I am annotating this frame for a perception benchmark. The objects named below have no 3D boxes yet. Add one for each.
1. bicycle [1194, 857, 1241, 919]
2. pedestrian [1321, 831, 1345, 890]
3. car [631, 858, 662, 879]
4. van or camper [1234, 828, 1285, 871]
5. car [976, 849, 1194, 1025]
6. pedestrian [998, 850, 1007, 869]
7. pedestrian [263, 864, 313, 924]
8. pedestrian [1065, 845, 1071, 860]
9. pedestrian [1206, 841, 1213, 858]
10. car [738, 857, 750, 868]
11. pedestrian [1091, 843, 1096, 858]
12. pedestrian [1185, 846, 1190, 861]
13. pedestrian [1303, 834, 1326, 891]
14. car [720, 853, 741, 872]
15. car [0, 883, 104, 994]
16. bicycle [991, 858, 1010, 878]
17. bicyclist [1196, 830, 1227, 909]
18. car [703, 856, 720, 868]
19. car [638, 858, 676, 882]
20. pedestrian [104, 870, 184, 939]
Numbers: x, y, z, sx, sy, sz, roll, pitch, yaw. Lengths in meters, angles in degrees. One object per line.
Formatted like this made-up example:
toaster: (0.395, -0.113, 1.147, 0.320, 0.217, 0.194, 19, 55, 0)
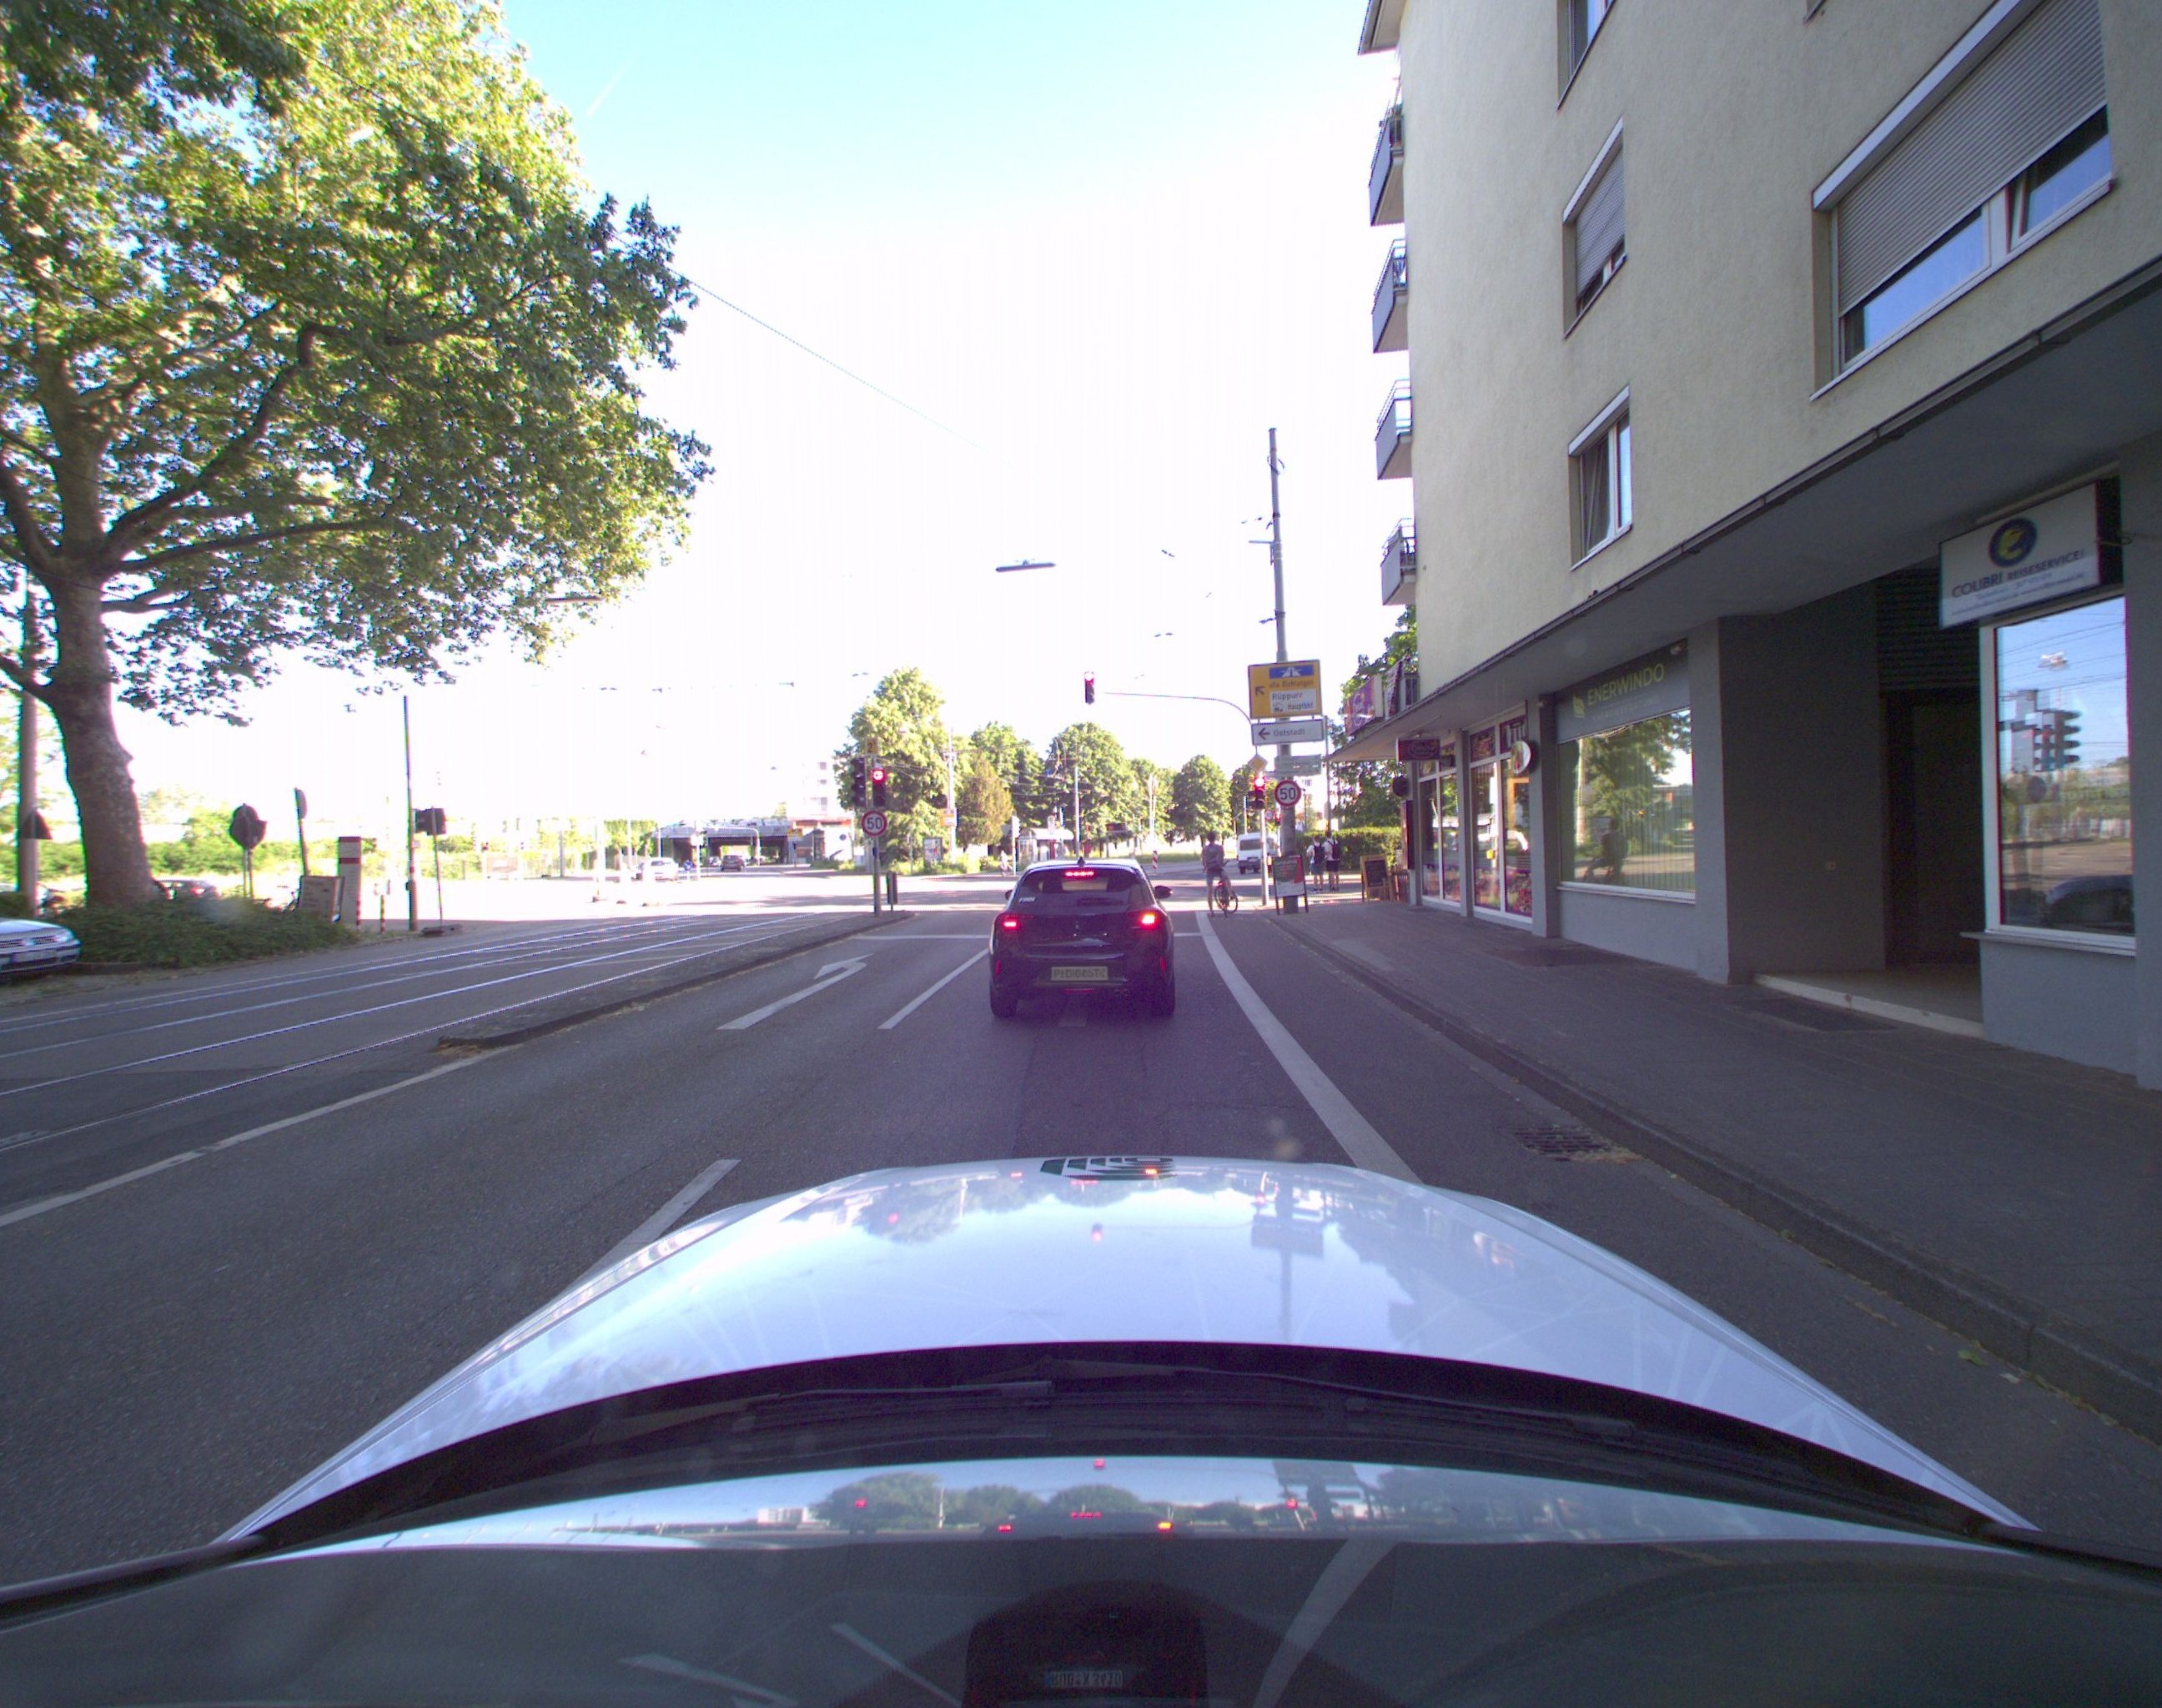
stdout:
bicycle: (3.025, 0.713, 17.944, 0.747, 1.235, 2.024, -2, 0, 16)
pedestrian: (7.877, 0.195, 25.416, 0.627, 1.820, 0.749, -1, -1, 22)
car: (-37.262, 1.215, 69.952, 1.804, 1.662, 4.326, -2, 0, -21)
van or camper: (10.182, -0.225, 46.181, 2.011, 2.310, 4.565, -1, -1, 23)
car: (0.096, 0.700, 8.928, 1.833, 1.462, 3.985, -1, 0, 2)
pedestrian: (-6.345, 0.459, 65.647, 0.567, 1.472, 0.666, -2, 0, 3)
pedestrian: (-22.762, 1.124, 23.390, 0.776, 1.661, 0.946, 0, -1, -29)
pedestrian: (-1.670, -0.232, 104.488, 0.736, 1.872, 0.661, 0, -1, -4)
pedestrian: (14.081, -0.472, 89.144, 0.602, 1.872, 0.519, 0, -1, -4)
car: (-54.299, 1.400, 131.191, 1.761, 1.684, 3.713, 0, -1, -22)
pedestrian: (1.525, -0.405, 100.337, 0.616, 1.872, 0.521, -1, -1, 9)
pedestrian: (13.030, -0.083, 99.437, 0.600, 1.872, 0.521, -1, -1, 9)
pedestrian: (7.300, 0.271, 25.475, 0.627, 1.763, 0.585, -1, -1, 22)
car: (-37.365, 0.878, 86.868, 1.916, 1.881, 4.811, -2, 0, -22)
car: (-16.626, 1.193, 11.339, 3.957, 1.453, 1.670, -1, 0, -1)
bicycle: (-4.568, 0.764, 46.429, 0.793, 1.064, 2.186, -2, 0, 2)
bicyclist: (2.848, 0.331, 17.781, 0.529, 1.692, 0.571, -2, 0, 19)
car: (-51.372, 1.138, 113.226, 1.892, 1.585, 3.809, 0, -1, -21)
car: (-29.205, 1.065, 56.172, 1.892, 1.585, 3.809, 0, -1, -21)
pedestrian: (-22.976, 1.220, 19.989, 0.842, 1.647, 0.931, 0, -1, 1)
